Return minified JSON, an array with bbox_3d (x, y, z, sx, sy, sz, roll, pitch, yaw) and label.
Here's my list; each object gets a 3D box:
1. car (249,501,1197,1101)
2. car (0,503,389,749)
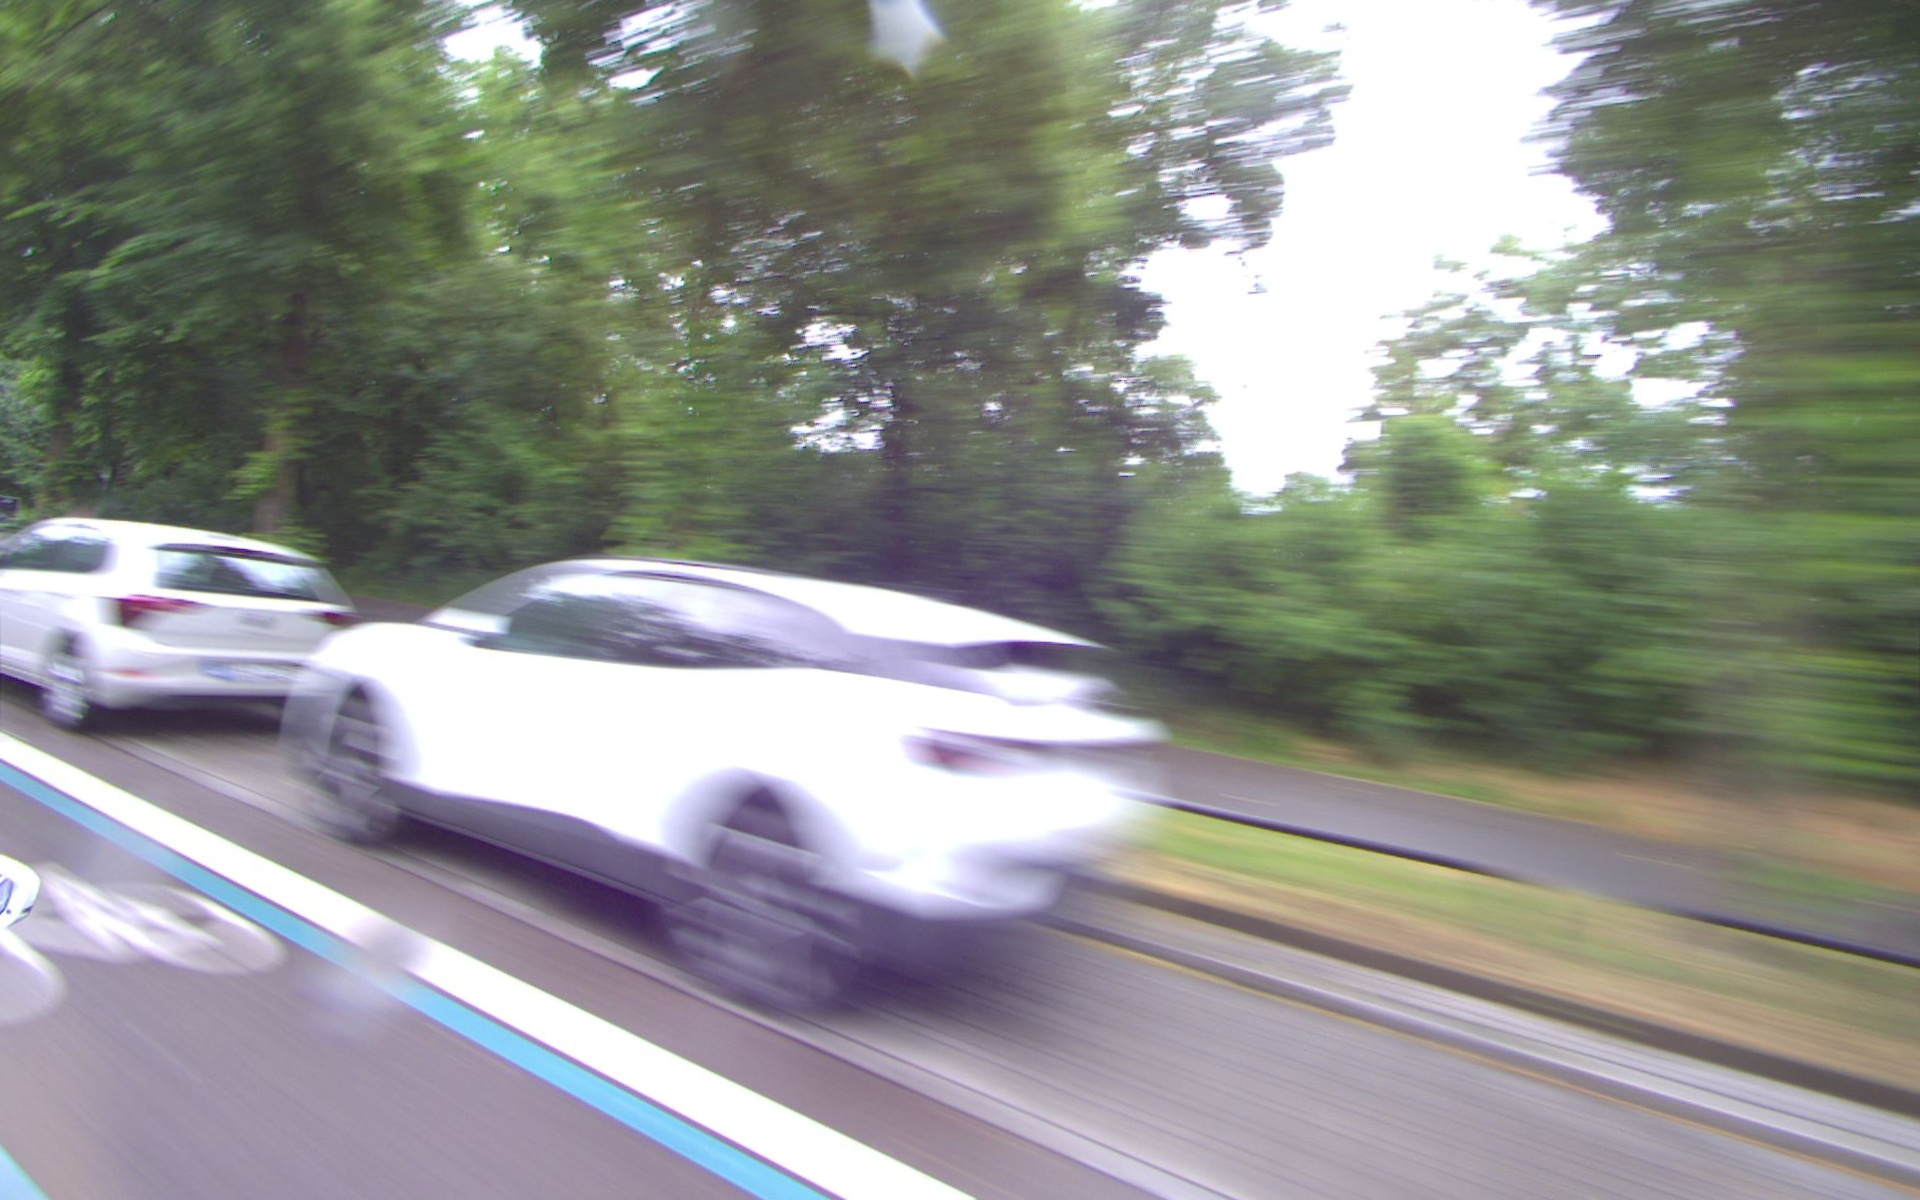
[{"bbox_3d":[-1.354,0.602,5.179,4.486,1.682,1.997,7,-1,31],"label":"car"},{"bbox_3d":[-6.662,0.107,8.135,3.879,1.470,1.702,7,-1,30],"label":"car"}]
